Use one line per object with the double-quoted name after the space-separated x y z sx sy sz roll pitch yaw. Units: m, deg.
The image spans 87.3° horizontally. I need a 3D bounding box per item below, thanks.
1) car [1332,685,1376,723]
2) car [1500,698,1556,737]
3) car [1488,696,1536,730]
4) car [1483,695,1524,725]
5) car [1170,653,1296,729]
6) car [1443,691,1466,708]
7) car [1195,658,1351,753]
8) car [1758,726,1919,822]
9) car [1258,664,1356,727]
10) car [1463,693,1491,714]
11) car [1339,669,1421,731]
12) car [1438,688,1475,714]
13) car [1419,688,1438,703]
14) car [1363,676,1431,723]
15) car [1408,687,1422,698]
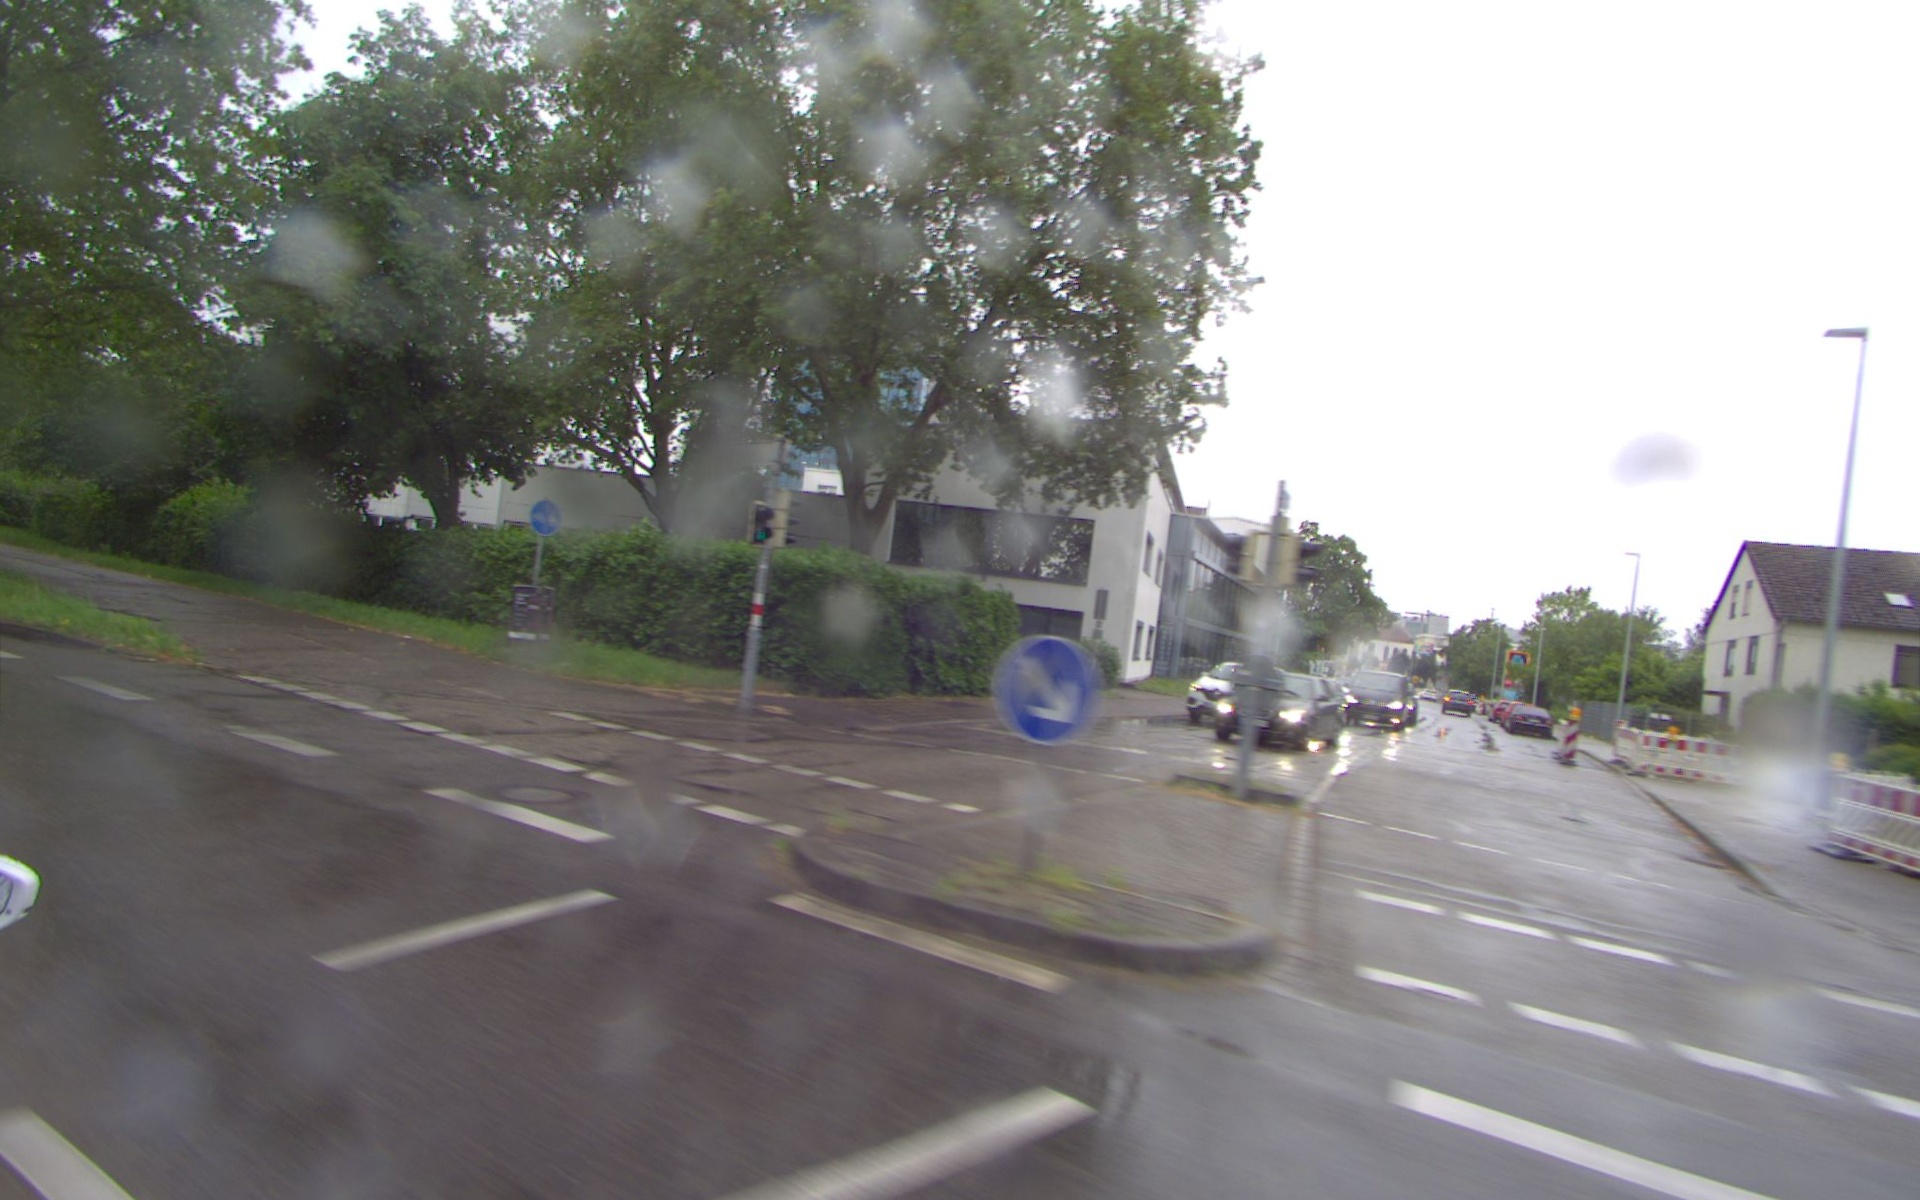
20.422 5.324 52.012 1.793 1.609 4.304 7 -1 24 "car"
27.469 5.635 48.741 1.717 1.476 4.038 7 -1 22 "car"
30.193 6.160 55.144 1.717 1.476 4.038 7 -1 22 "car"
34.439 6.939 63.784 1.717 1.476 4.038 7 -1 22 "car"
7.213 2.373 26.299 1.858 1.609 4.297 7 -1 32 "car"
50.962 10.225 103.654 1.717 1.476 4.038 7 -1 22 "car"
6.427 2.094 20.330 1.822 1.501 4.382 5 -2 32 "car"
19.990 3.846 21.708 3.995 1.551 1.822 6 -1 32 "car"
10.908 2.962 31.447 1.796 1.609 4.297 7 -1 32 "car"
45.608 9.088 88.842 1.717 1.476 4.038 7 -1 22 "car"
14.878 3.513 35.491 1.796 1.819 4.474 7 -1 32 "car"
33.901 6.871 68.774 1.867 1.445 4.859 7 -1 23 "car"
56.741 11.535 121.964 1.717 1.476 4.038 7 -1 22 "car"
18.304 4.140 42.029 1.796 1.609 4.297 7 -1 32 "car"
69.533 14.128 153.701 1.717 1.476 4.038 7 -1 22 "car"
